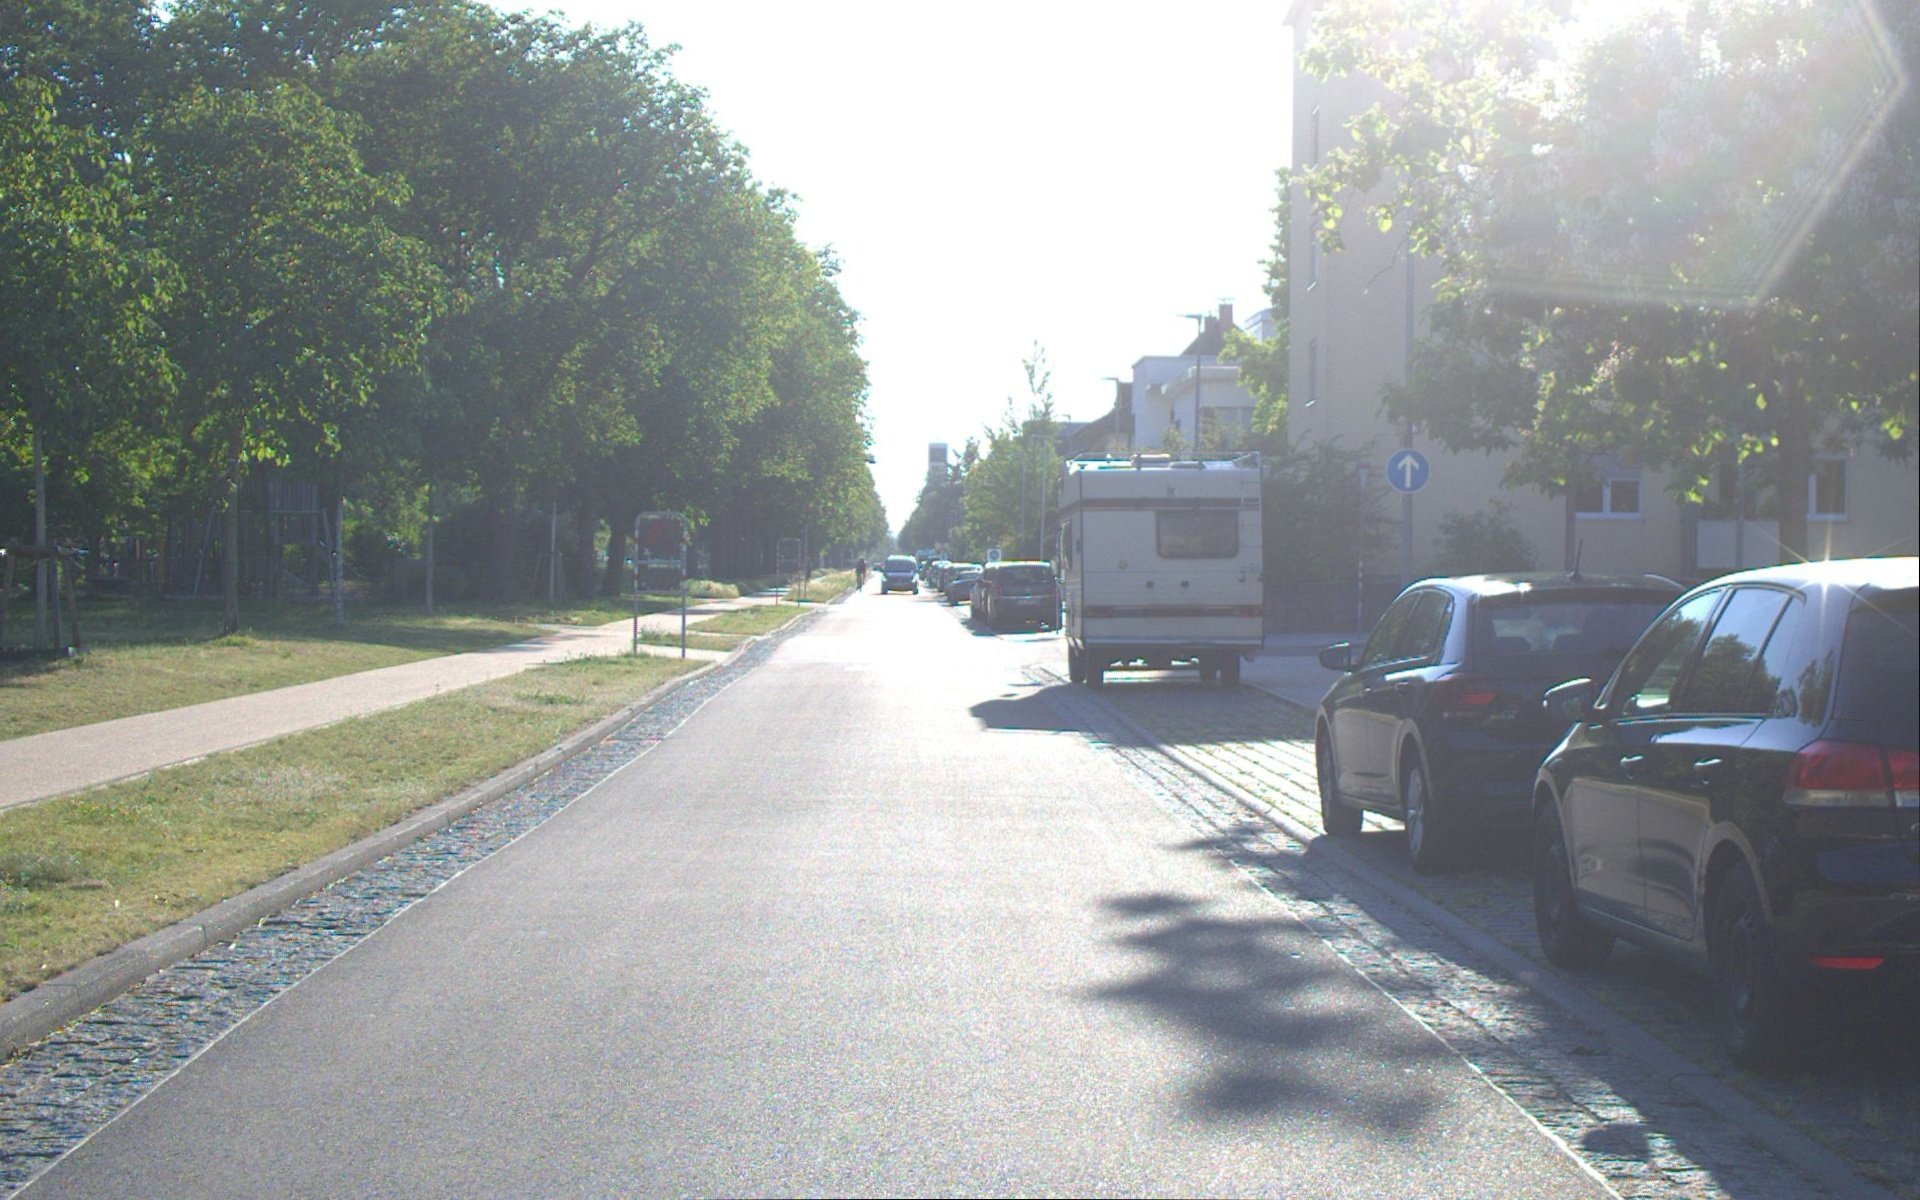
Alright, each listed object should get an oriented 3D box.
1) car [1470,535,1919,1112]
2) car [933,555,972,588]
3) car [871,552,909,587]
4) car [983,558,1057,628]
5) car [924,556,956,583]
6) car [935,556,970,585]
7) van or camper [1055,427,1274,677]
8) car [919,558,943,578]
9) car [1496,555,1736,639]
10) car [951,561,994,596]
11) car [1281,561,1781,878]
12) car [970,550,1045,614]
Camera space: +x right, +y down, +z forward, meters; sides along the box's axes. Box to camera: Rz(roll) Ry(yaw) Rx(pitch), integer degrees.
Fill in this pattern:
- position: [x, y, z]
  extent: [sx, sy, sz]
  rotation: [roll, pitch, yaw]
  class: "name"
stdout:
- position: [2.973, 0.588, 11.436]
  extent: [1.731, 1.545, 4.423]
  rotation: [0, 0, -2]
  class: "car"
- position: [-0.337, -1.238, 149.018]
  extent: [1.626, 1.405, 4.249]
  rotation: [0, 0, -1]
  class: "car"
- position: [-3.424, -1.503, 168.808]
  extent: [1.825, 1.663, 4.249]
  rotation: [0, 0, -1]
  class: "car"
- position: [1.451, -0.176, 84.020]
  extent: [1.626, 1.663, 4.249]
  rotation: [0, 0, -1]
  class: "car"
- position: [-1.098, -1.629, 185.300]
  extent: [1.626, 1.405, 4.249]
  rotation: [0, 0, -1]
  class: "car"
- position: [-0.371, -1.449, 168.513]
  extent: [1.626, 1.405, 4.249]
  rotation: [0, 0, -1]
  class: "car"
- position: [2.455, -0.535, 42.739]
  extent: [2.234, 2.894, 5.673]
  rotation: [0, -1, -1]
  class: "van or camper"
- position: [-2.002, -2.193, 237.324]
  extent: [1.626, 1.405, 4.249]
  rotation: [0, 0, -1]
  class: "car"
- position: [12.307, -0.067, 64.685]
  extent: [4.195, 1.525, 2.000]
  rotation: [0, 0, 4]
  class: "car"
- position: [0.483, -0.860, 137.393]
  extent: [1.626, 1.405, 4.249]
  rotation: [0, 0, -1]
  class: "car"
- position: [2.842, 0.540, 18.019]
  extent: [1.626, 1.459, 4.250]
  rotation: [0, 0, -4]
  class: "car"
- position: [1.328, -0.500, 95.021]
  extent: [1.993, 1.711, 4.000]
  rotation: [0, 0, 2]
  class: "car"
